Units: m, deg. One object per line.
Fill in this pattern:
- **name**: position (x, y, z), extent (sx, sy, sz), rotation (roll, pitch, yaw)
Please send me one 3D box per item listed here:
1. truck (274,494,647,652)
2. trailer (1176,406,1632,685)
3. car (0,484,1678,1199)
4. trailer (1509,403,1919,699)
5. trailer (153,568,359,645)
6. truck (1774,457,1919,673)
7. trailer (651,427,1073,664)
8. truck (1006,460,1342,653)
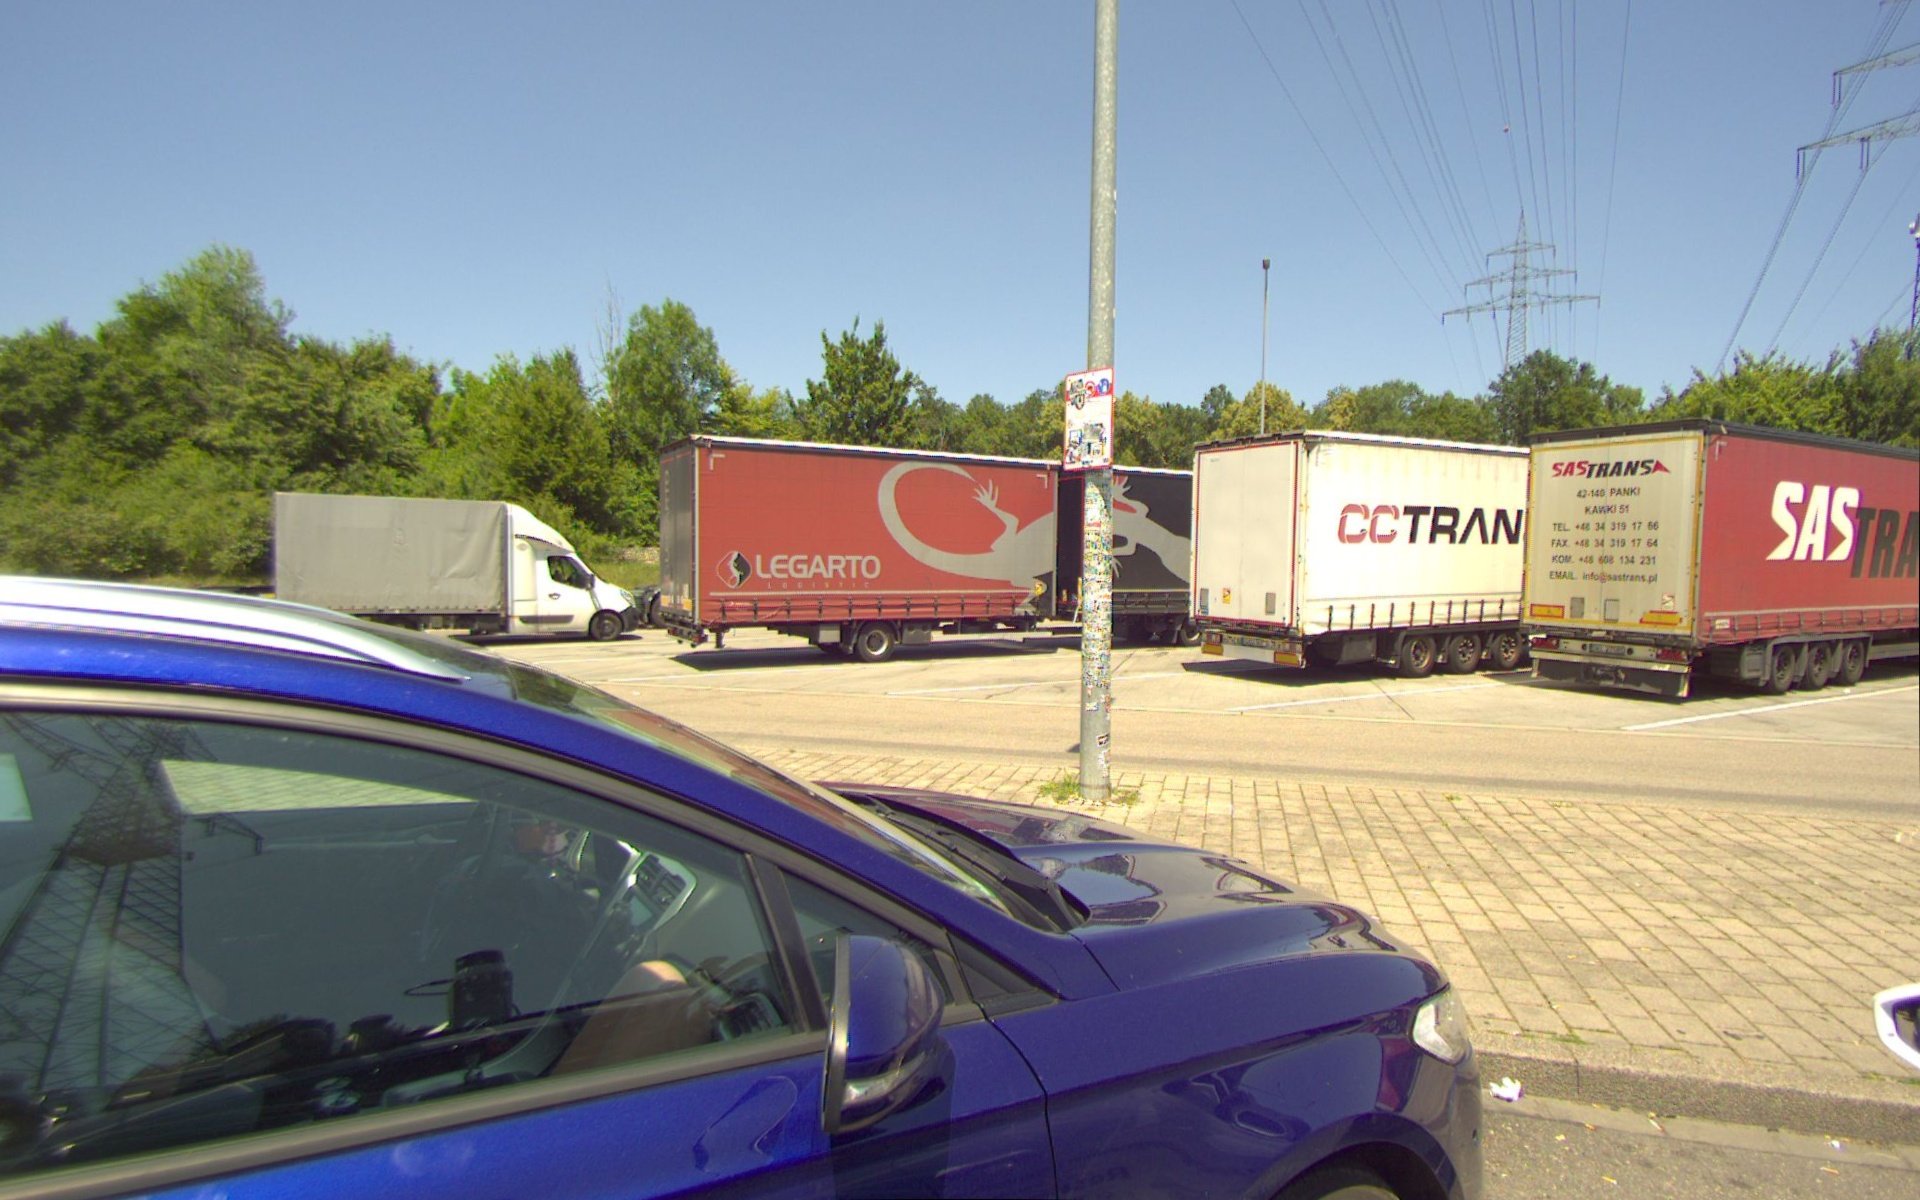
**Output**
- **truck**: position (-11.117, -0.562, 22.915), extent (7.265, 3.170, 2.352), rotation (0, 1, -30)
- **trailer**: position (8.712, -0.830, 19.111), extent (9.614, 4.321, 2.733), rotation (0, 1, -29)
- **car**: position (-1.008, 0.652, 1.467), extent (4.419, 1.485, 1.765), rotation (0, 1, -32)
- **trailer**: position (15.286, -0.670, 18.503), extent (13.129, 4.112, 2.736), rotation (0, 1, -31)
- **trailer**: position (-16.511, 0.147, 23.789), extent (3.856, 1.684, 1.464), rotation (0, 1, -30)
- **truck**: position (20.818, -0.673, 21.777), extent (6.749, 4.136, 2.729), rotation (0, 1, -31)
- **trailer**: position (-1.791, -0.918, 20.313), extent (8.158, 4.027, 2.651), rotation (0, 1, -31)
- **truck**: position (5.401, -0.909, 24.586), extent (8.534, 4.073, 2.624), rotation (0, 1, -30)
